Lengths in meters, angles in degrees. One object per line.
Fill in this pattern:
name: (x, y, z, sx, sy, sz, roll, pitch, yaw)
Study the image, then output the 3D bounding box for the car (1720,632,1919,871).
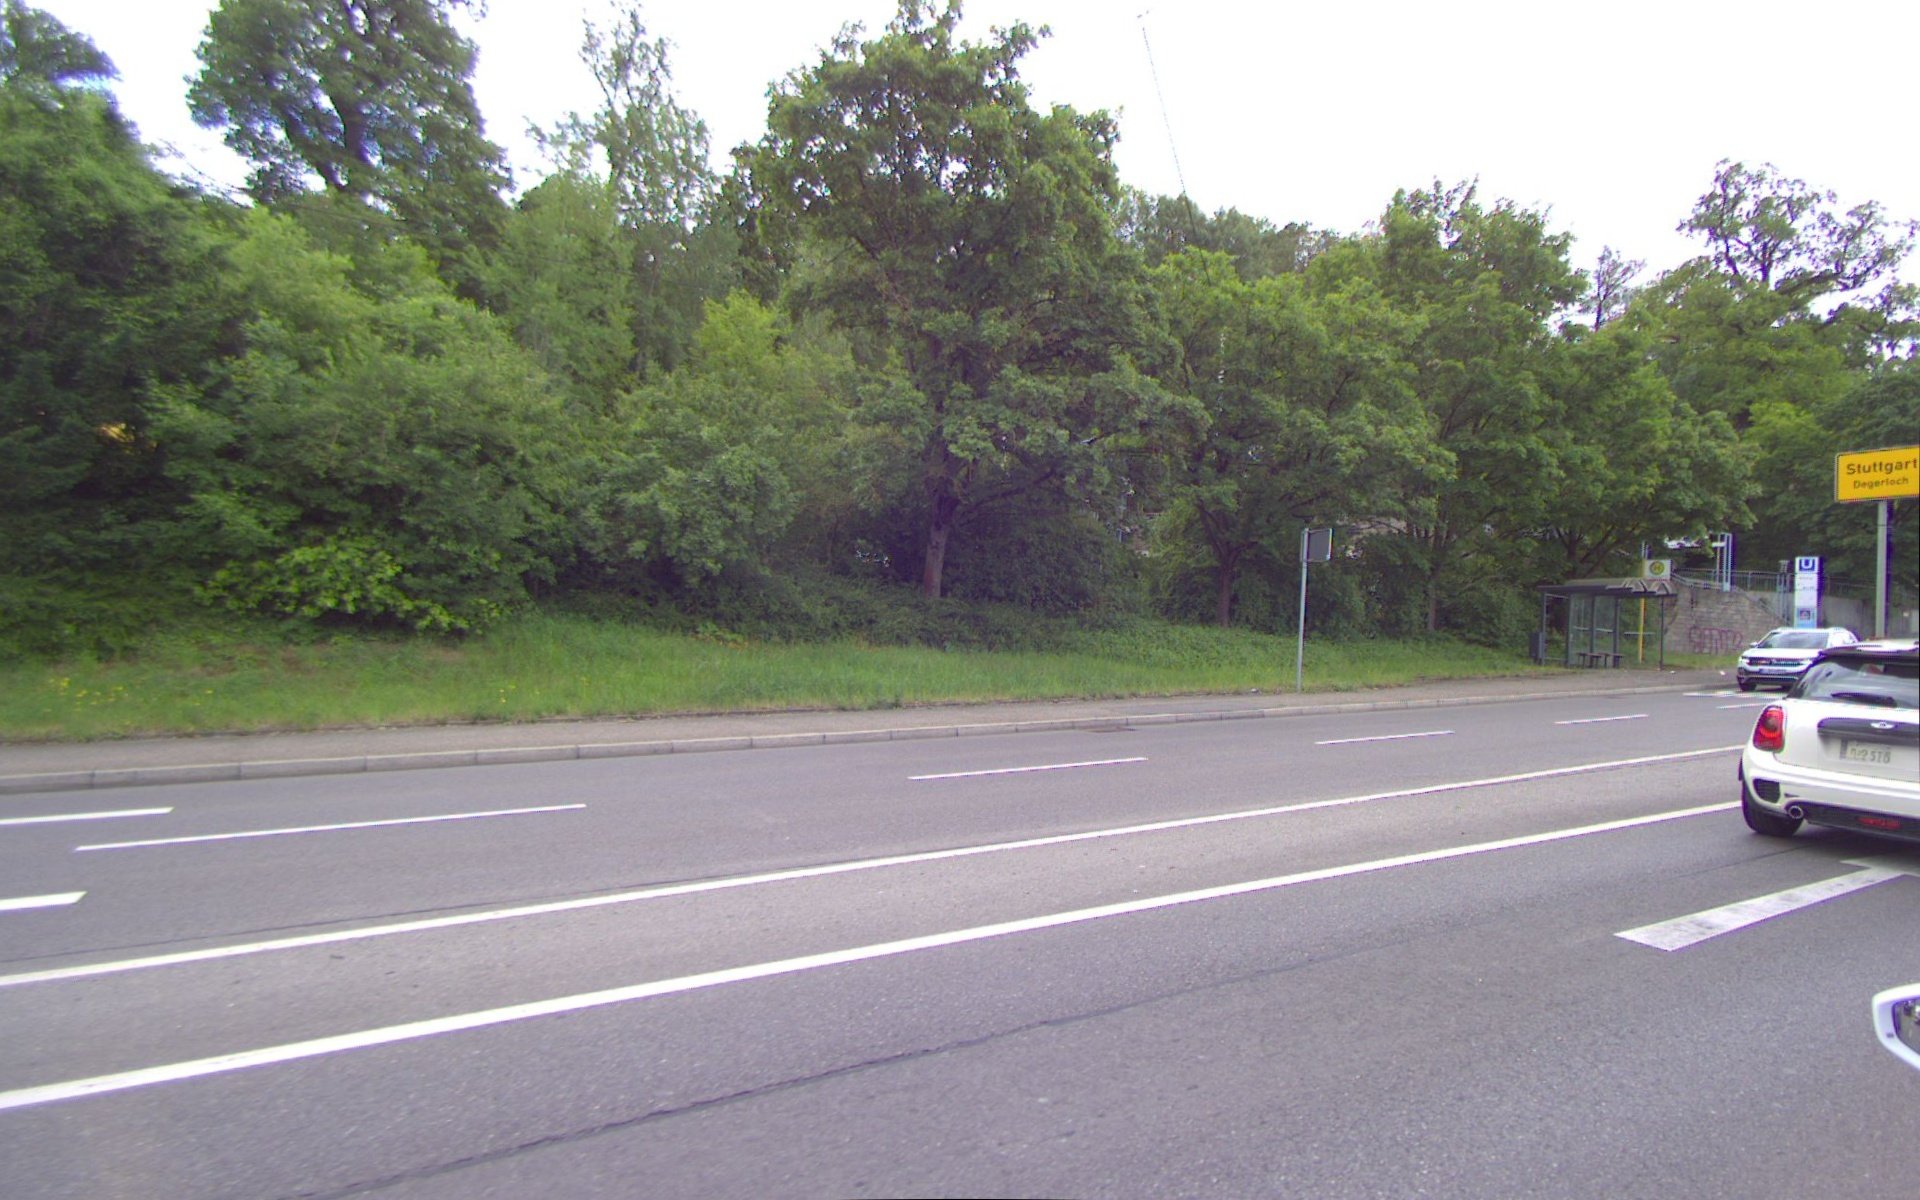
car: (7.199, 0.958, 7.066, 3.520, 1.412, 1.622, 1, -1, -27)

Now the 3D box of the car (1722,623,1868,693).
car: (20.986, 1.412, 25.209, 4.001, 1.561, 1.718, 2, 0, -34)
